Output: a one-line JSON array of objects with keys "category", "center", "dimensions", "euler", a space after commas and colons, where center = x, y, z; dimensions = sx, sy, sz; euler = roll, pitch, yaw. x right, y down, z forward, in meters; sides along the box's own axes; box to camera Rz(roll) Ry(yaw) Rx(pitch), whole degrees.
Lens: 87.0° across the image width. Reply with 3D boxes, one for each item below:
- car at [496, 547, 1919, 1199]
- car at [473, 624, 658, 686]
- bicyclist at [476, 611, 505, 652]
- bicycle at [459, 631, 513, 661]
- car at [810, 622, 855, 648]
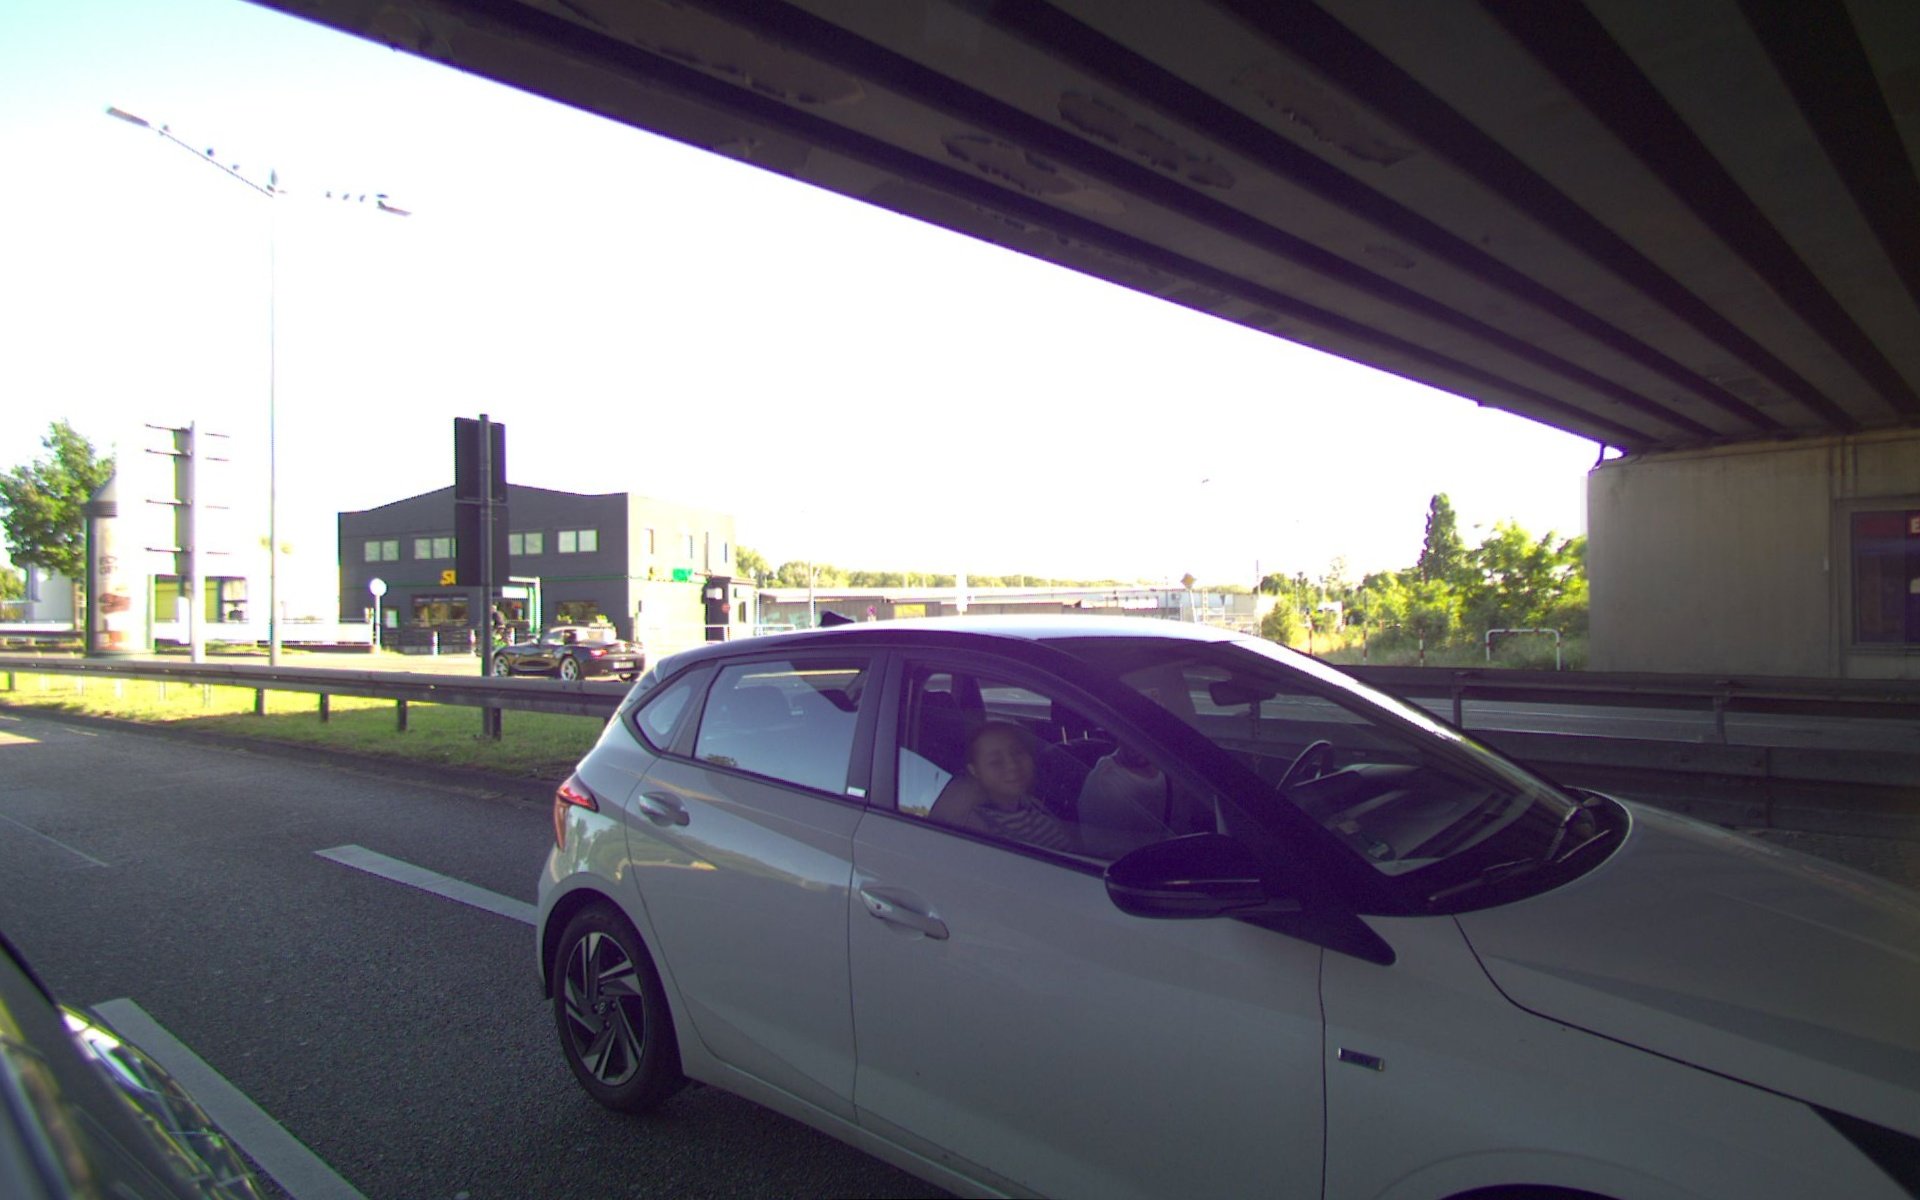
[{"category": "car", "center": [0.559, 0.716, 2.670], "dimensions": [3.987, 1.491, 1.716], "euler": [-1, -1, 40]}, {"category": "car", "center": [-8.914, 1.221, 22.807], "dimensions": [4.168, 1.291, 1.729], "euler": [-1, -4, 32]}, {"category": "bicyclist", "center": [-16.649, 1.109, 35.910], "dimensions": [0.701, 1.438, 0.591], "euler": [-1, 0, 13]}, {"category": "bicycle", "center": [-16.849, 1.626, 35.961], "dimensions": [1.733, 1.031, 0.591], "euler": [-1, 0, 13]}, {"category": "car", "center": [-6.875, 1.920, 54.962], "dimensions": [1.806, 1.291, 4.180], "euler": [1, -3, 1]}]
